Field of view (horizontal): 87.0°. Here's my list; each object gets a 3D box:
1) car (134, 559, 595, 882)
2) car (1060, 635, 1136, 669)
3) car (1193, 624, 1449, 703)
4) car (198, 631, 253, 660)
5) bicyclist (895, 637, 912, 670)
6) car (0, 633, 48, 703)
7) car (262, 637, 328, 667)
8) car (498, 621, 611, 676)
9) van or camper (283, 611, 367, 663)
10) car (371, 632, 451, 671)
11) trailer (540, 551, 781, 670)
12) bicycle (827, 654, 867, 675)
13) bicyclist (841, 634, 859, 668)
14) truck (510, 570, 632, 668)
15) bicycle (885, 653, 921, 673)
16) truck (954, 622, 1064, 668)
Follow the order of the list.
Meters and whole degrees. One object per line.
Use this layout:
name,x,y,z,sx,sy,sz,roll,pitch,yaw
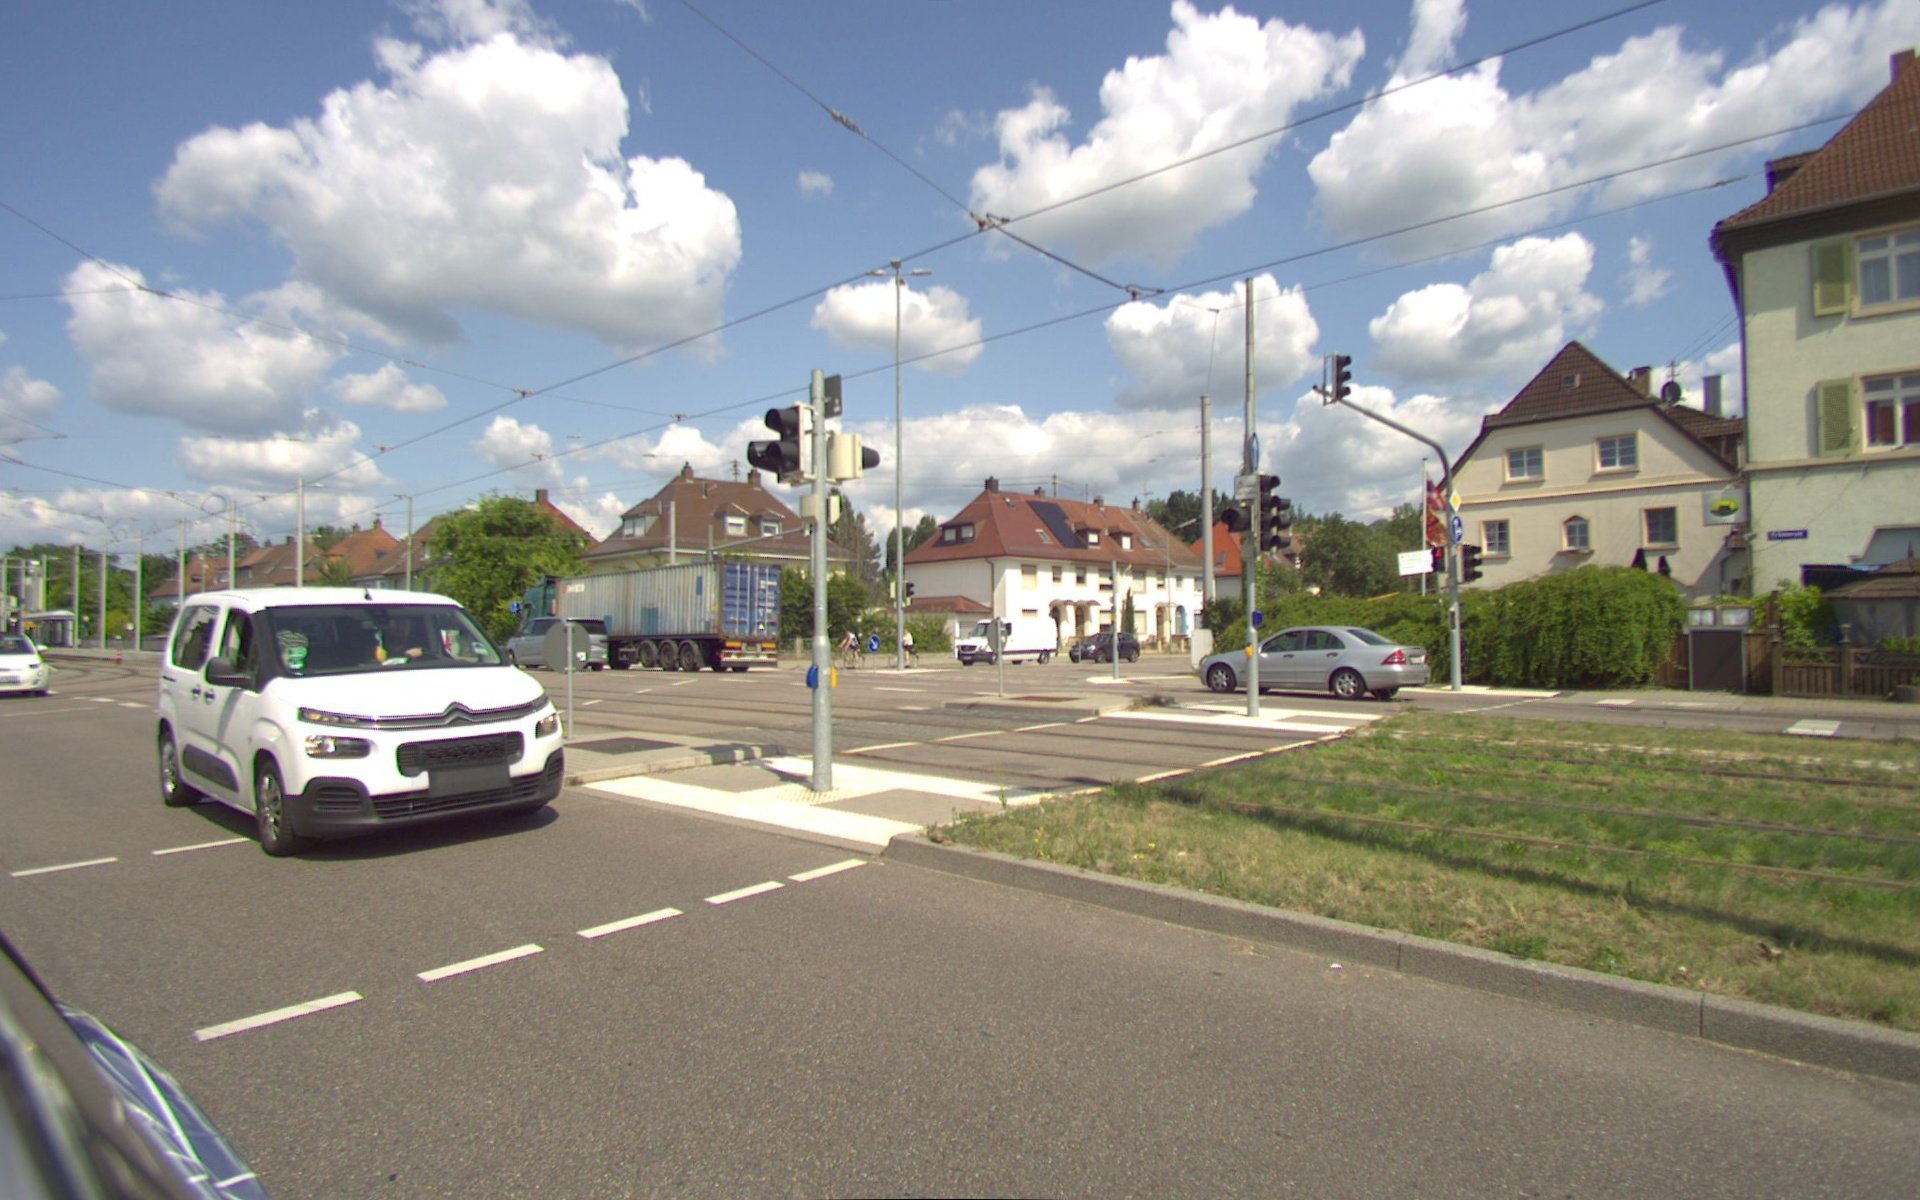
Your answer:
car,-4.776,0.709,7.828,4.327,1.829,1.776,-1,0,41
car,7.384,2.755,53.970,2.000,1.564,4.118,-1,0,43
car,7.045,1.195,20.109,4.473,1.397,1.774,-2,-3,44
car,-47.049,2.927,64.782,4.879,1.790,1.971,-3,-4,44
bicyclist,-2.701,2.551,48.292,0.602,1.509,0.494,-2,0,43
car,-22.792,1.583,23.629,3.389,1.515,1.660,-2,-1,38
car,-36.910,2.869,56.160,4.176,1.564,1.972,-1,-5,42
car,-14.449,1.698,35.961,4.710,1.829,1.776,-1,-3,41
van or camper,-39.346,2.209,62.572,7.752,2.952,2.299,0,-1,42
car,-24.447,2.269,45.021,4.471,1.649,1.775,-2,-3,43
trailer,-11.666,0.658,38.115,12.837,3.851,2.570,-3,-5,44
bicycle,-5.088,2.904,45.651,0.602,0.841,1.784,-2,0,43
bicyclist,-4.984,2.318,45.773,0.602,1.509,0.494,-2,0,43
truck,-16.498,0.912,42.731,5.668,3.851,2.570,-3,-5,44
bicycle,-2.716,2.988,48.258,0.602,0.841,1.784,-2,0,43
truck,2.478,2.141,49.235,1.690,1.936,6.115,-2,0,44
